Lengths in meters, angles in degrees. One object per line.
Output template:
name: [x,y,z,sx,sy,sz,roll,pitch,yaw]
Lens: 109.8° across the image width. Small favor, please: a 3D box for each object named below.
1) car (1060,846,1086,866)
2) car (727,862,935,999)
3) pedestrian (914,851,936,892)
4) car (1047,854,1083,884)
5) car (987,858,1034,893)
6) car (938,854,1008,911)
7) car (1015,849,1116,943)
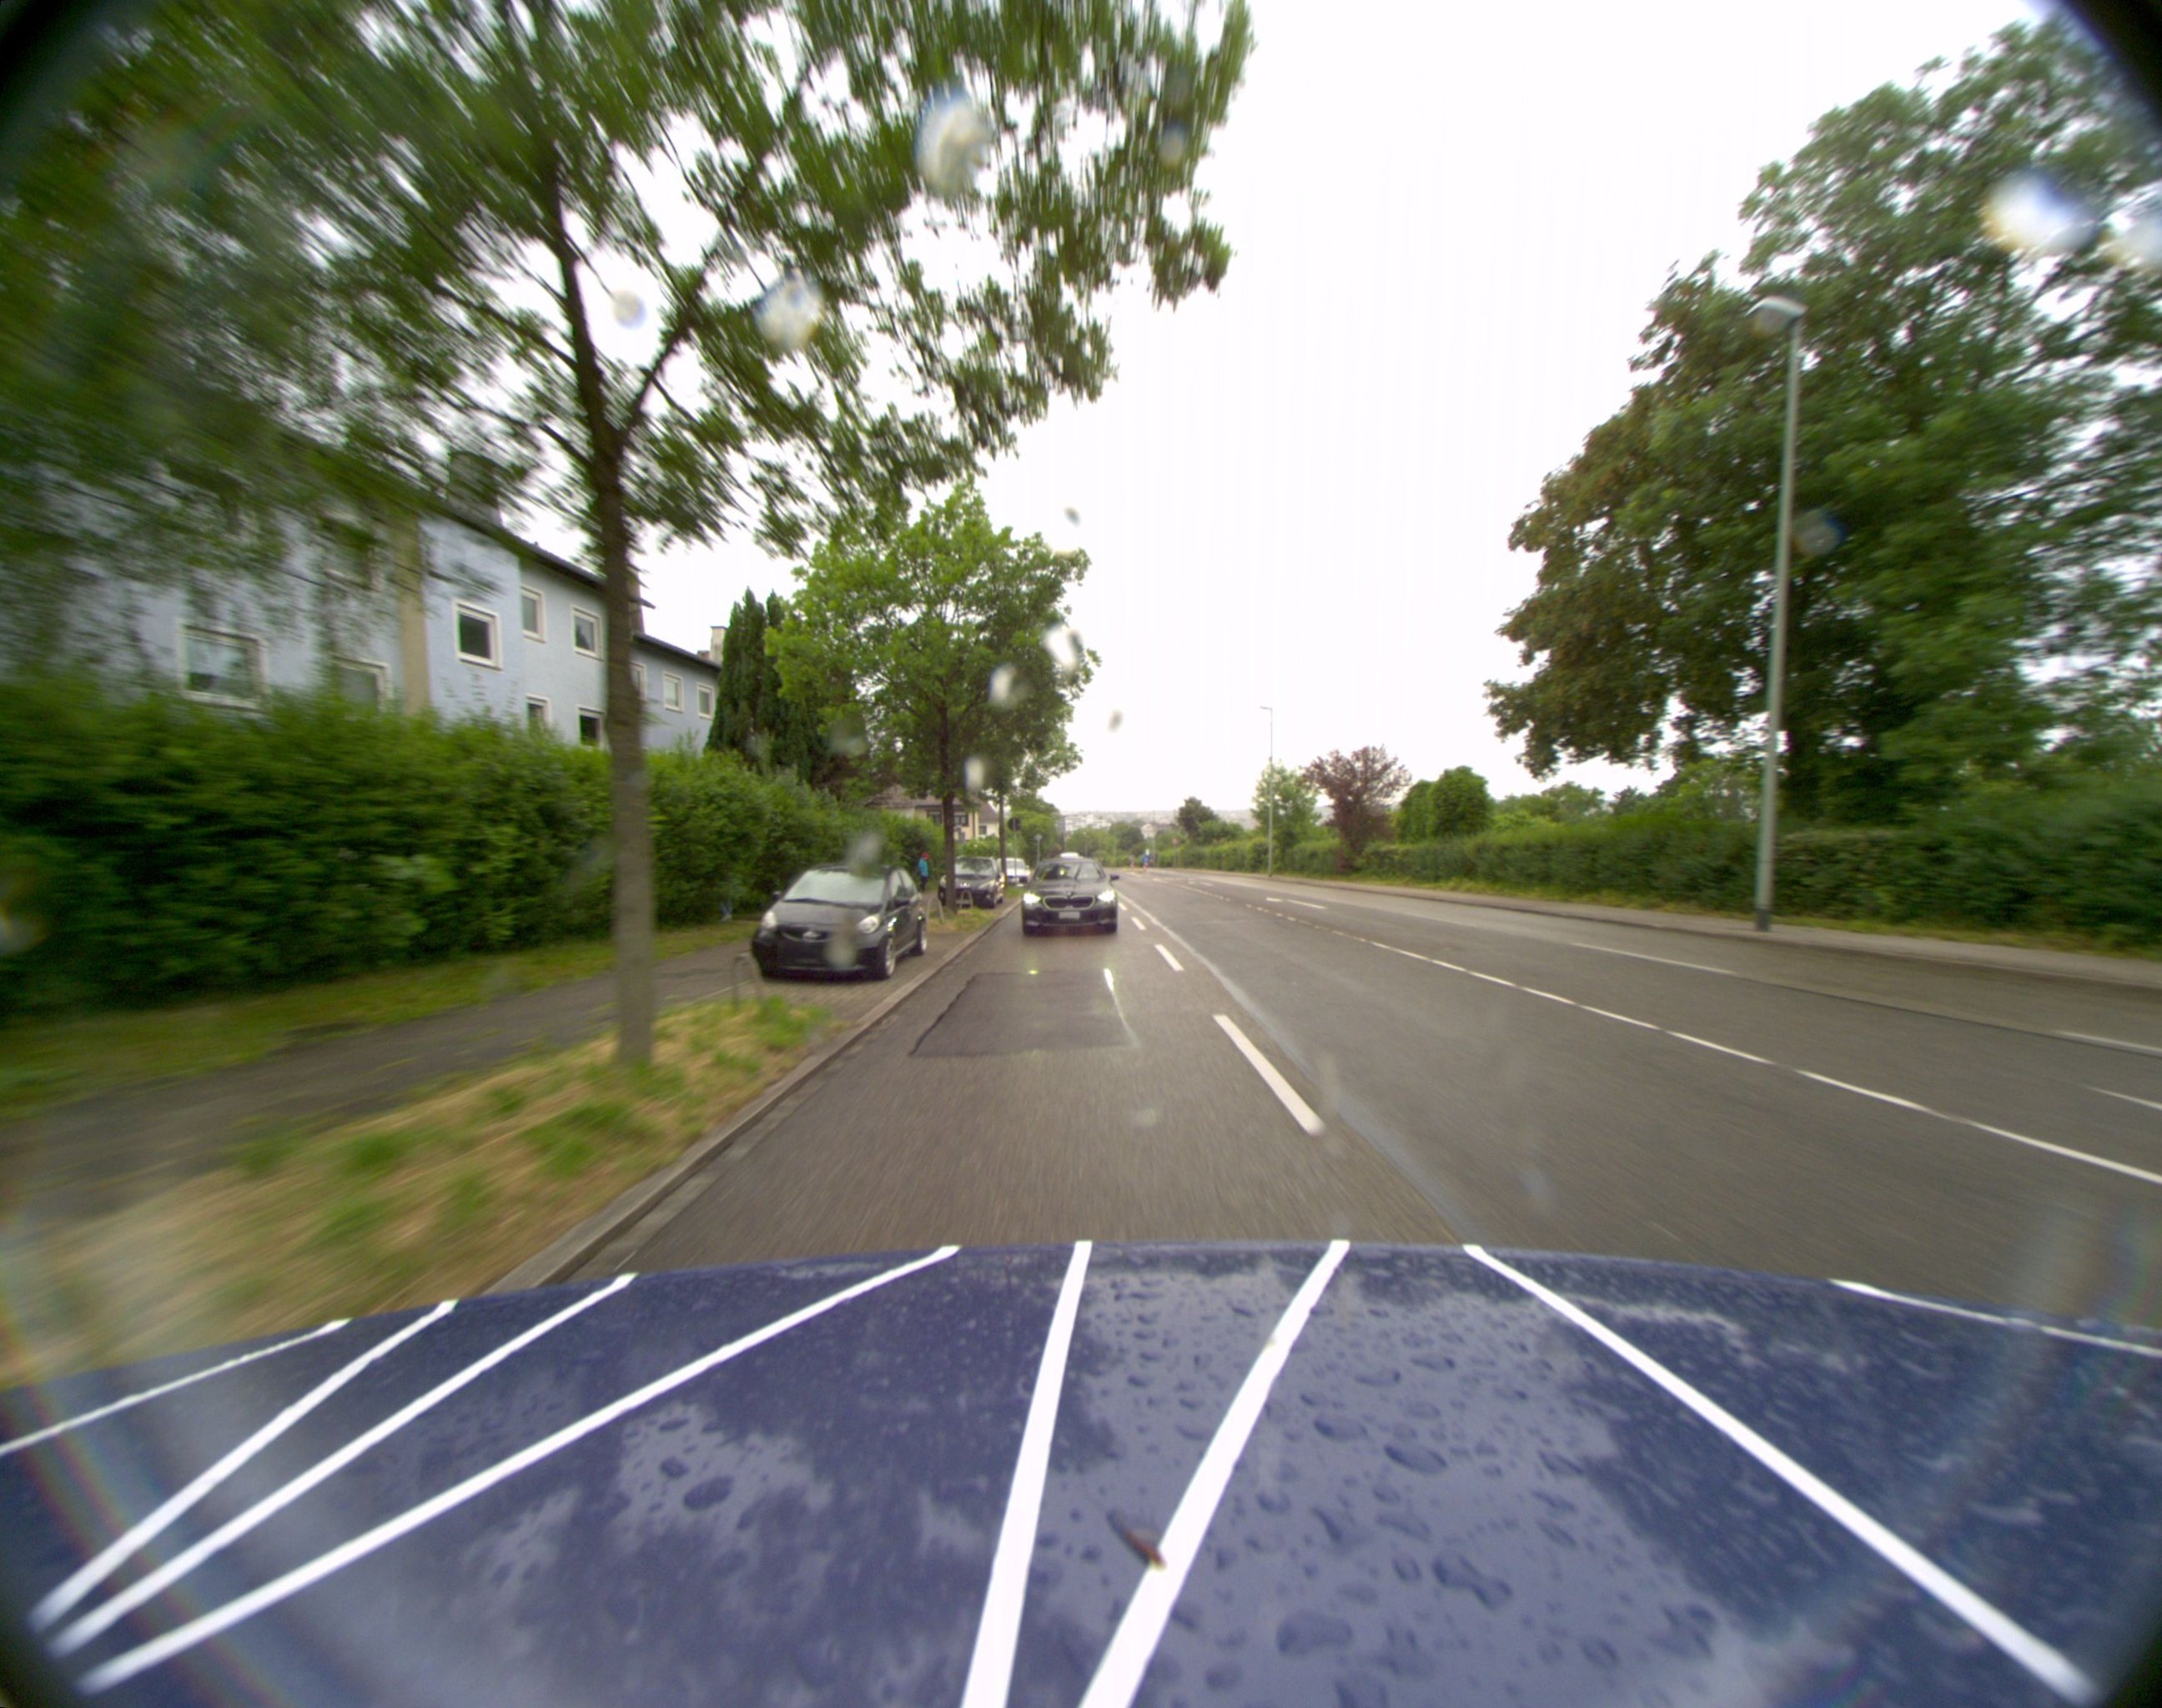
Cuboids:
car: [-0.744,0.193,66.160,1.999,1.674,4.172,-1,0,-4]
car: [-3.270,0.918,10.736,1.726,1.503,3.785,2,0,-1]
pedestrian: [-6.398,0.698,31.116,0.709,1.670,0.654,0,1,7]
car: [-0.909,0.835,44.357,1.999,1.674,4.173,-1,0,-1]
car: [-3.288,0.957,36.103,1.803,1.513,4.591,1,0,0]
car: [-3.269,0.825,23.704,1.646,1.586,4.013,1,0,-1]
car: [-0.256,0.778,16.362,1.828,1.668,4.296,-3,0,1]
